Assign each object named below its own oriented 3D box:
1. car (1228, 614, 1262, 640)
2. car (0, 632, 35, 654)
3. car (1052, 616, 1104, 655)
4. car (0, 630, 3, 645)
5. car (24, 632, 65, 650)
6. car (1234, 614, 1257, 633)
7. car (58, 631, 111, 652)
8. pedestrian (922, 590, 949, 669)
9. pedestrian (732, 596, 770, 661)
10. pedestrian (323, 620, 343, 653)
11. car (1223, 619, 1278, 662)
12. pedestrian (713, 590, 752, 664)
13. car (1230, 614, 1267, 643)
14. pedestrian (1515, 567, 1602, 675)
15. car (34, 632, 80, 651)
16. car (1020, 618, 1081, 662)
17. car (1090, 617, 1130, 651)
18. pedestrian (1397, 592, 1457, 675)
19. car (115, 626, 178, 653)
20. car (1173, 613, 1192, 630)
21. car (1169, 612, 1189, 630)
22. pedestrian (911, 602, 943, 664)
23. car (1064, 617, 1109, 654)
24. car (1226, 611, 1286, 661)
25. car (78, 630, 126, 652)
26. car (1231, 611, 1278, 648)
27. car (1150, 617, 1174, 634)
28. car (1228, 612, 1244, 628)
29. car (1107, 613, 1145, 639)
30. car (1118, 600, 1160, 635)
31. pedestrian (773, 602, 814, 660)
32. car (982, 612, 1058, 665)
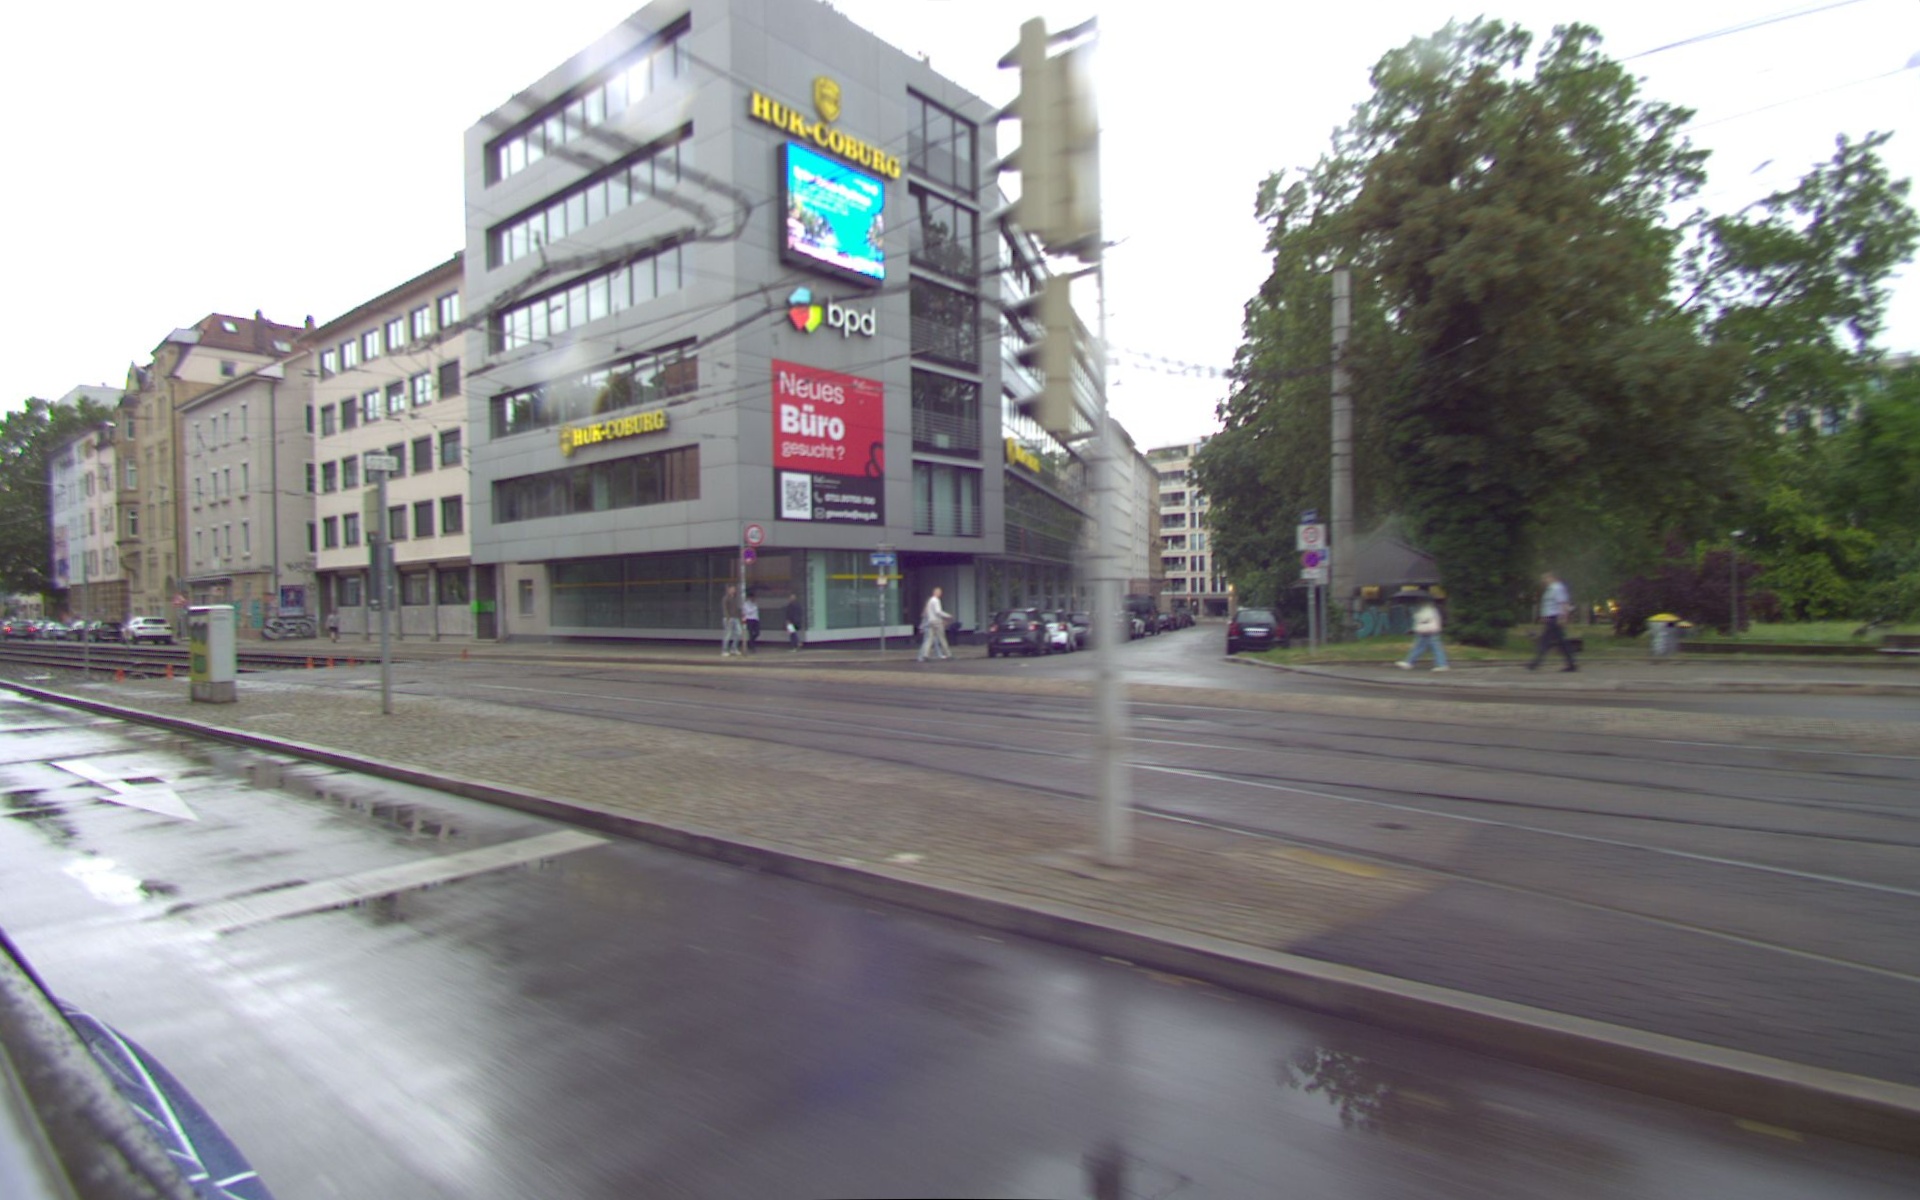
[{"bbox_3d":[16.363,1.564,58.176,1.686,1.459,3.524,-1,-1,14],"label":"car"},{"bbox_3d":[-68.905,3.102,73.368,4.341,1.548,1.922,-1,-3,37],"label":"car"},{"bbox_3d":[4.718,1.387,40.010,1.685,1.465,3.726,-1,-1,12],"label":"car"},{"bbox_3d":[-100.388,3.876,104.470,4.225,1.553,1.819,-2,-2,41],"label":"car"},{"bbox_3d":[-74.332,3.295,82.170,4.261,1.408,1.820,-2,-2,39],"label":"car"},{"bbox_3d":[24.895,2.005,88.347,1.774,1.602,3.981,-1,-1,15],"label":"car"},{"bbox_3d":[-62.131,2.951,71.819,5.017,1.467,1.973,-2,-4,40],"label":"car"},{"bbox_3d":[-0.643,0.765,26.603,0.608,2.028,0.663,-2,1,2],"label":"pedestrian"},{"bbox_3d":[-6.035,0.809,29.208,0.957,1.829,0.665,-2,1,-14],"label":"pedestrian"},{"bbox_3d":[-31.221,1.804,50.371,0.798,1.624,0.541,-2,2,42],"label":"pedestrian"},{"bbox_3d":[10.296,1.408,36.022,1.686,1.459,3.524,-1,-1,14],"label":"car"},{"bbox_3d":[-6.406,0.754,28.499,0.810,2.028,0.654,-1,1,39],"label":"pedestrian"},{"bbox_3d":[15.071,1.481,52.966,1.686,1.459,3.524,-1,-1,14],"label":"car"},{"bbox_3d":[10.878,0.369,18.428,0.989,1.876,0.913,-2,1,0],"label":"pedestrian"},{"bbox_3d":[-70.229,3.191,78.661,5.018,1.408,1.973,-2,-4,41],"label":"car"},{"bbox_3d":[3.249,1.388,35.926,1.685,1.465,3.726,-1,-1,12],"label":"car"},{"bbox_3d":[7.297,1.633,49.048,1.685,1.567,3.526,-1,-1,12],"label":"car"},{"bbox_3d":[9.474,0.658,20.503,0.999,1.606,0.904,-2,1,30],"label":"pedestrian"},{"bbox_3d":[-49.055,2.398,61.004,4.744,1.548,1.973,-2,-4,40],"label":"car"},{"bbox_3d":[24.228,2.324,110.005,1.841,1.849,3.981,-1,-1,15],"label":"car"},{"bbox_3d":[22.271,2.136,102.879,1.841,1.849,3.981,-1,-1,15],"label":"car"},{"bbox_3d":[-0.887,0.874,27.174,0.579,1.606,0.637,-3,1,-33],"label":"pedestrian"},{"bbox_3d":[5.661,1.574,45.056,1.685,1.567,3.526,-1,-1,12],"label":"car"},{"bbox_3d":[9.235,1.099,31.512,1.688,1.459,3.520,-1,-1,17],"label":"car"},{"bbox_3d":[-58.034,2.754,68.420,4.166,1.467,1.719,-2,-4,40],"label":"car"},{"bbox_3d":[12.333,1.222,42.503,1.686,1.459,3.524,-1,-1,14],"label":"car"},{"bbox_3d":[16.335,2.052,81.705,1.687,1.401,3.522,-1,-1,16],"label":"car"},{"bbox_3d":[34.619,2.486,126.915,1.846,2.029,3.980,-1,-1,15],"label":"car"},{"bbox_3d":[9.660,1.520,58.711,1.688,1.459,3.520,-1,-1,17],"label":"car"},{"bbox_3d":[11.920,1.194,67.003,2.311,2.237,5.044,-1,-1,15],"label":"car"},{"bbox_3d":[-4.804,0.883,29.192,0.951,1.606,0.590,-3,1,-36],"label":"pedestrian"},{"bbox_3d":[1.945,1.182,31.989,1.687,1.562,3.723,-1,-1,15],"label":"car"}]
